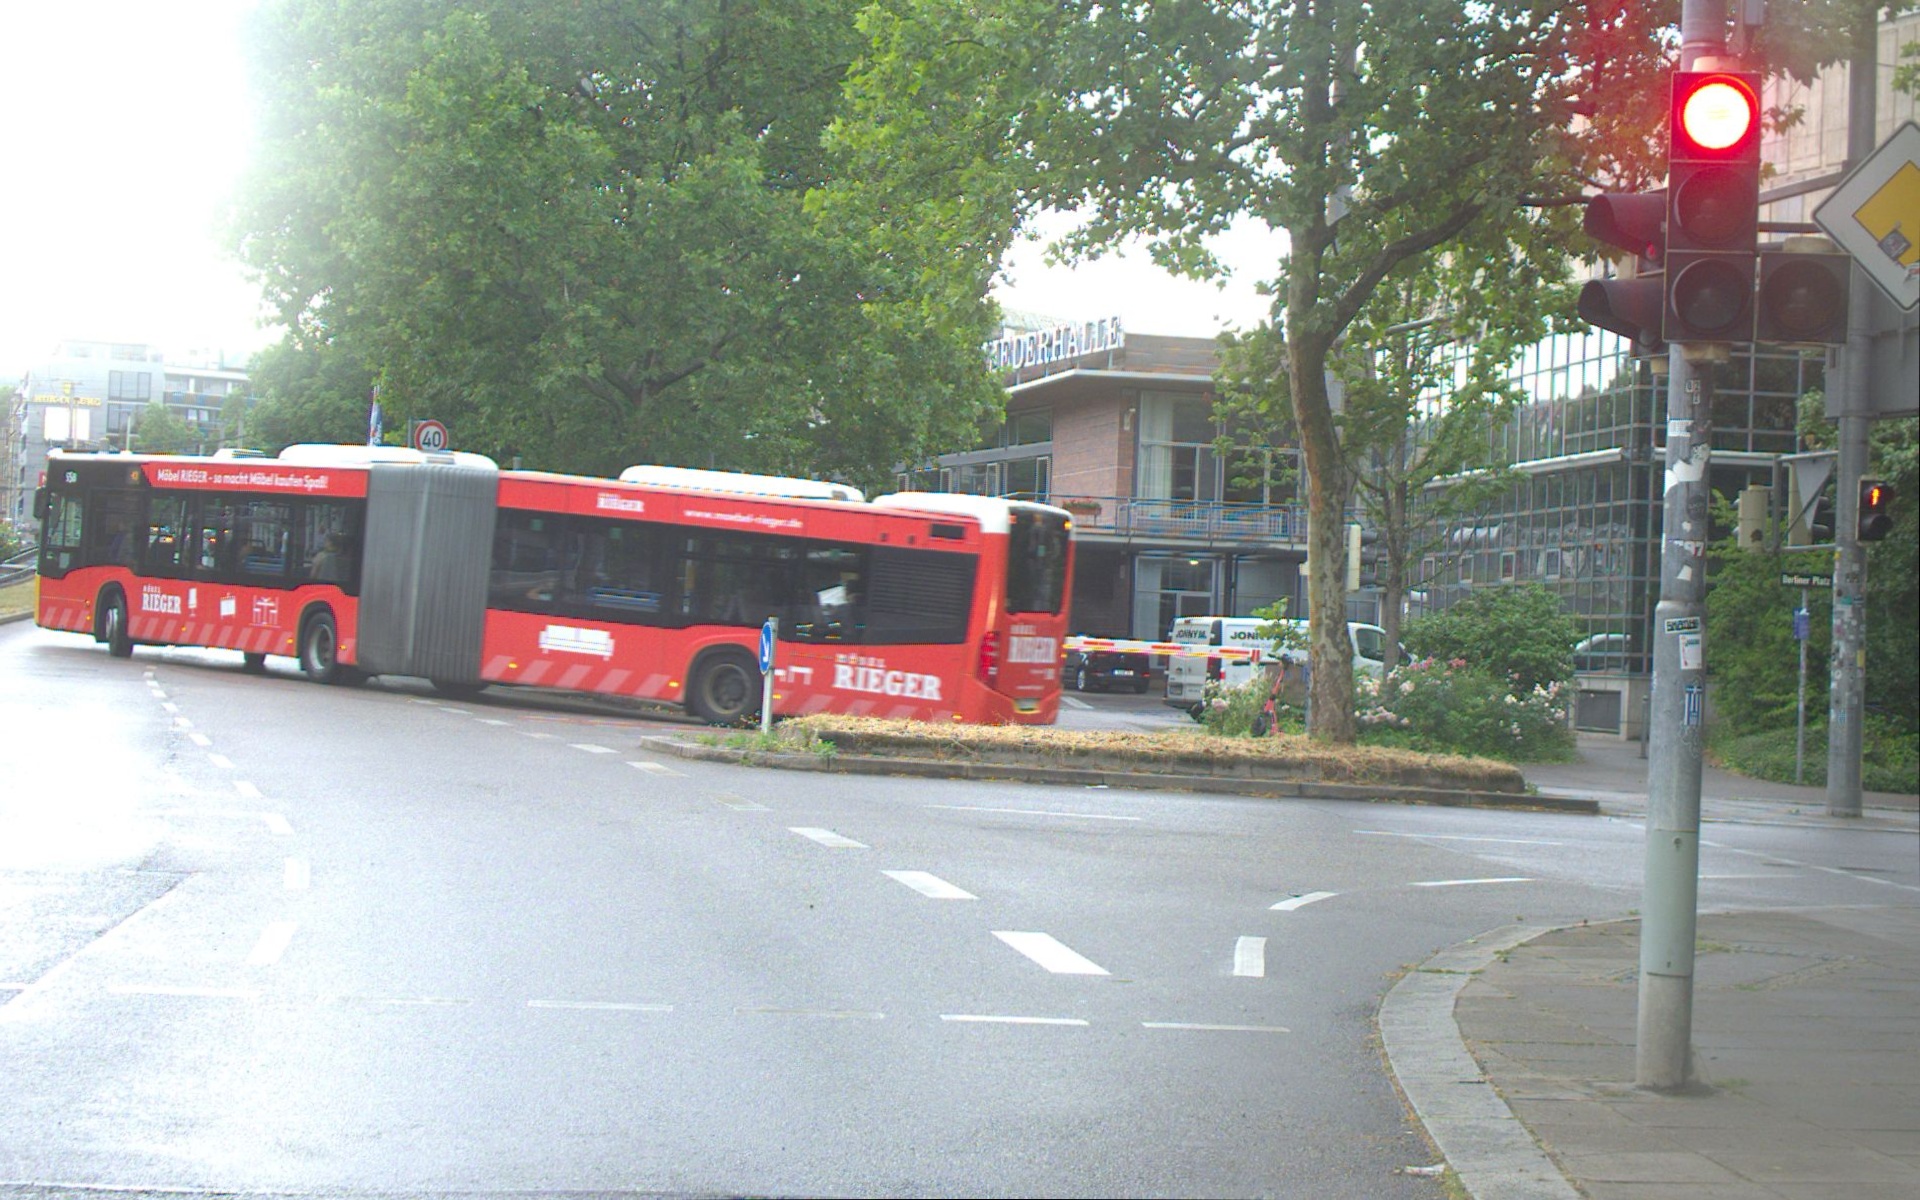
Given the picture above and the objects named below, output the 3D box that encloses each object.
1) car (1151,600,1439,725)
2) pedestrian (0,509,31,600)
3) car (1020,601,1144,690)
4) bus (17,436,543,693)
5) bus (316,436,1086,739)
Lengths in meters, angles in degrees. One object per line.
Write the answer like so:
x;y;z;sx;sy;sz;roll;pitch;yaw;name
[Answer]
6.141;1.142;62.972;4.745;1.937;2.001;4;-1;-22;car
-17.599;-0.845;63.213;0.738;1.634;0.871;4;-1;-6;pedestrian
2.997;1.108;85.351;1.993;2.007;4.001;4;0;-13;car
-9.644;-0.597;47.714;2.551;3.100;9.452;4;-1;-41;bus
-3.281;-0.187;42.383;9.168;3.100;2.660;4;-1;25;bus
